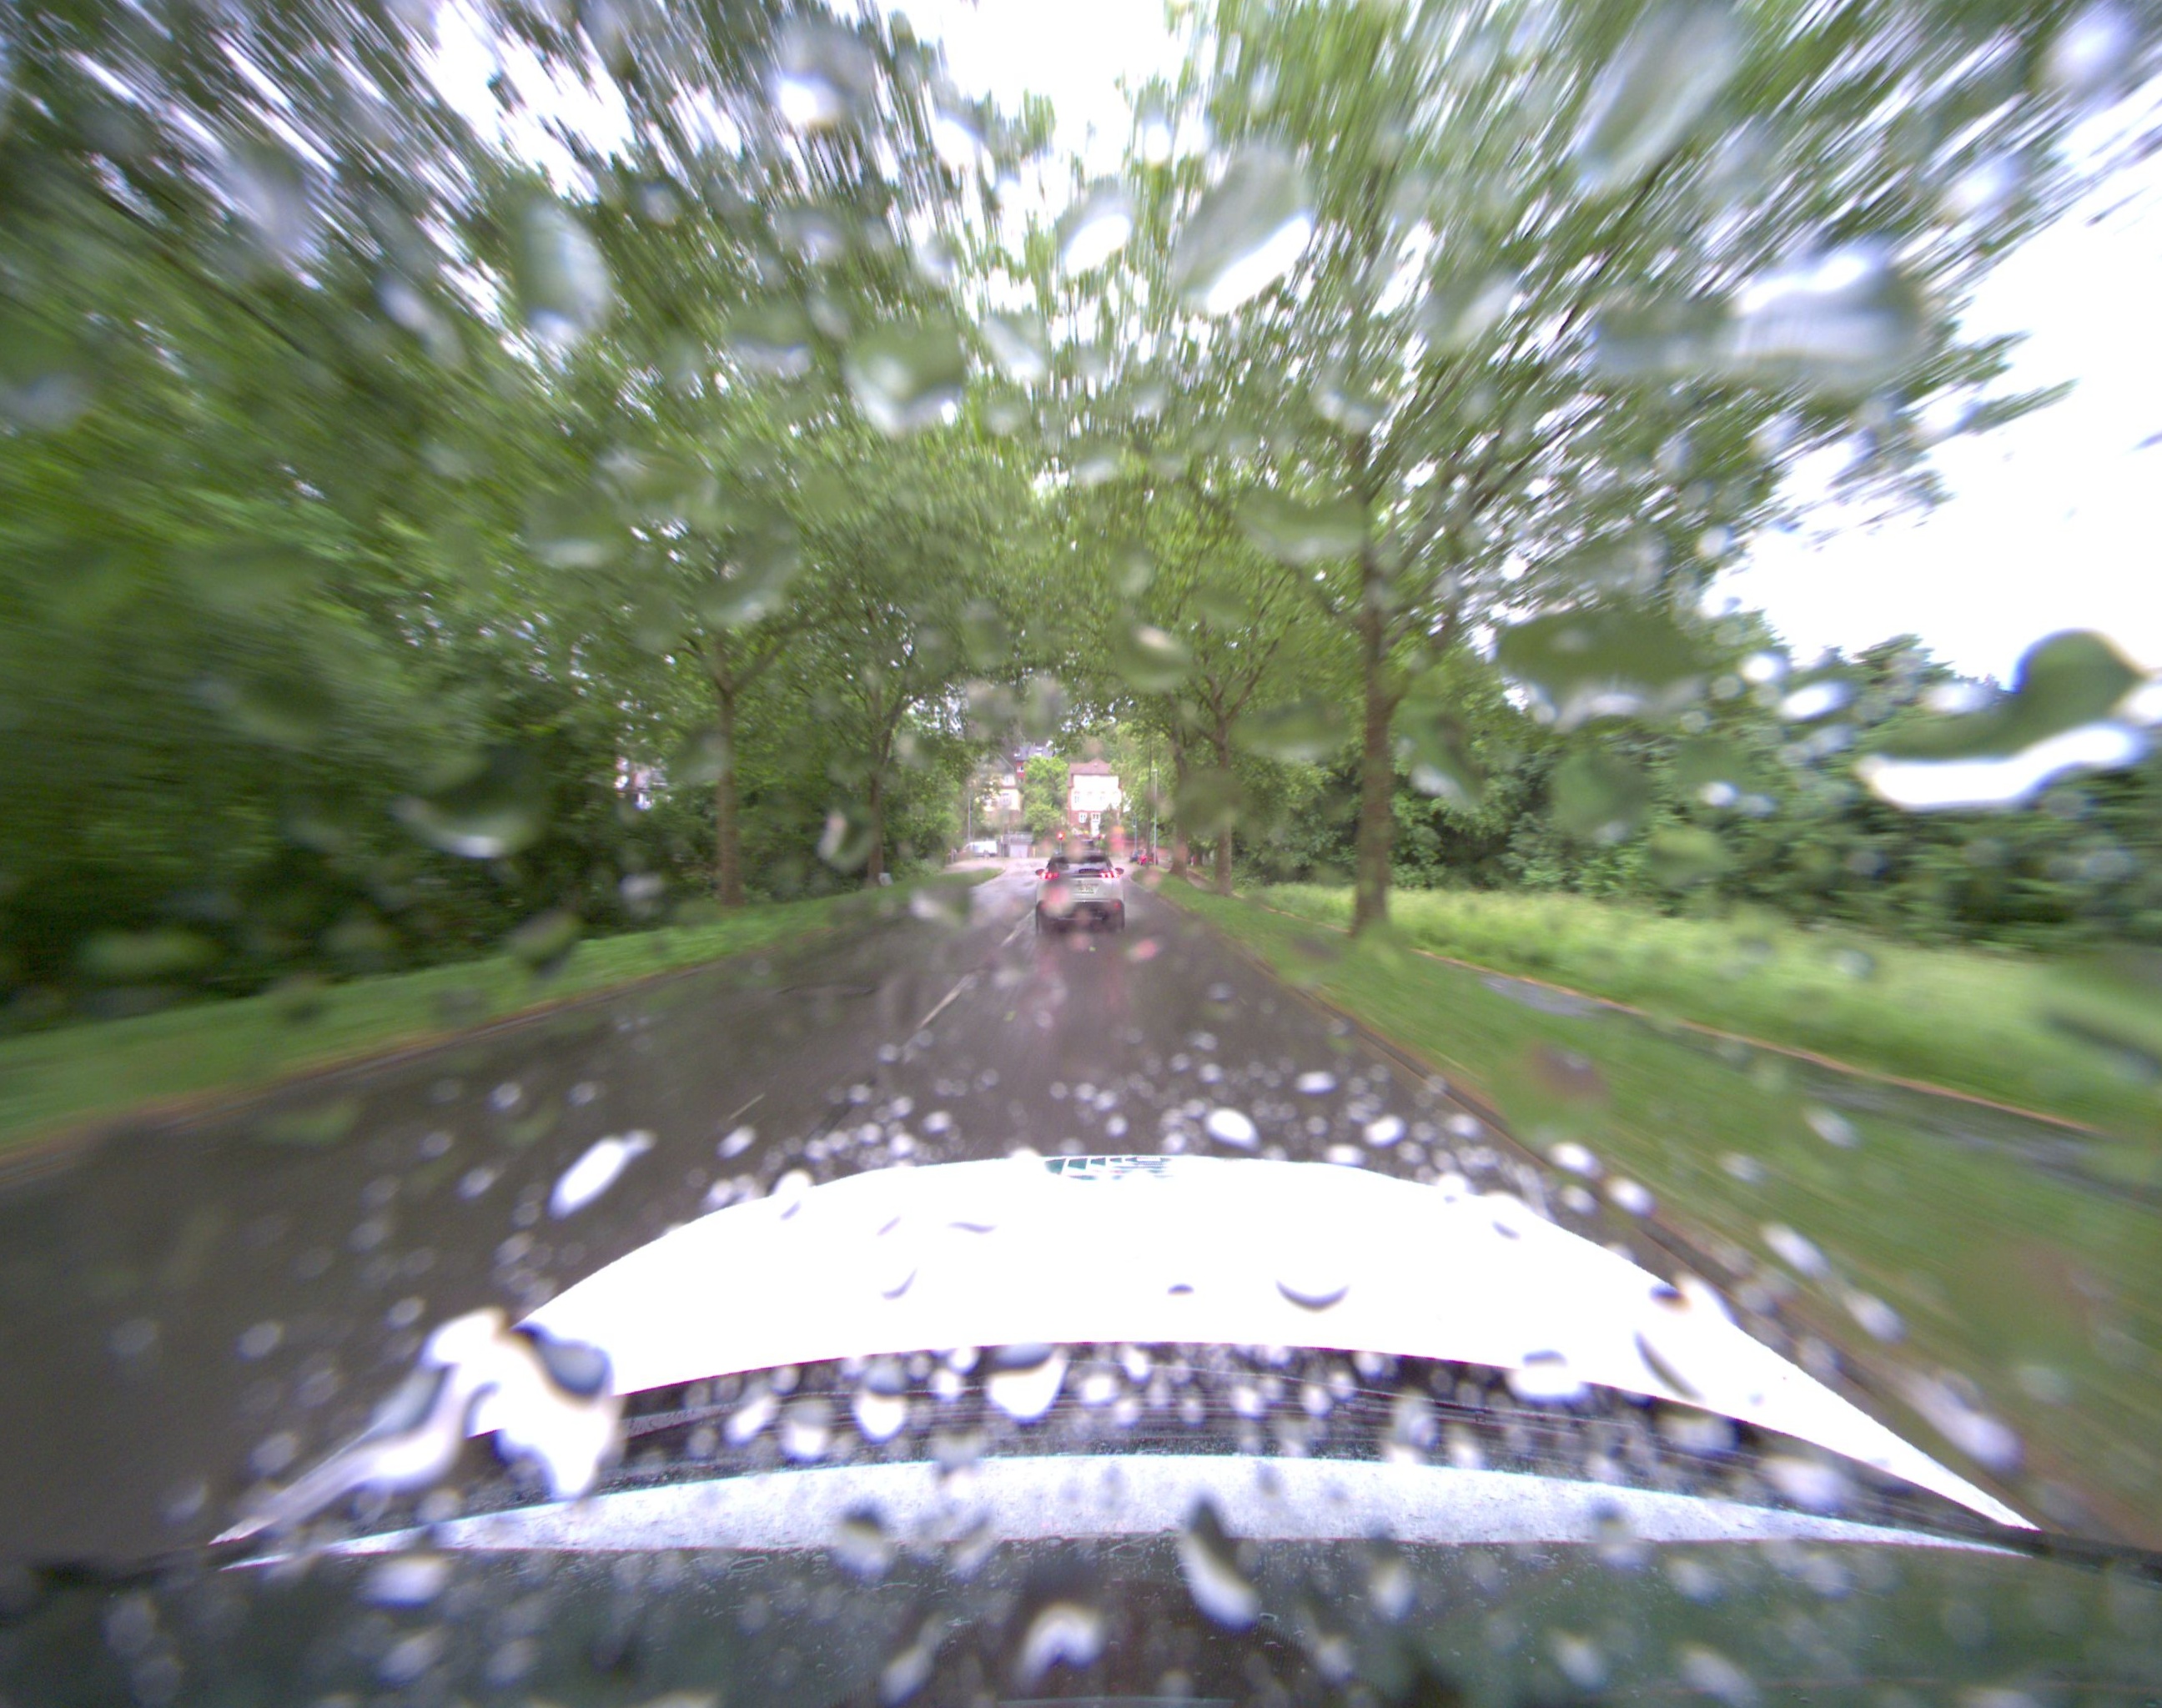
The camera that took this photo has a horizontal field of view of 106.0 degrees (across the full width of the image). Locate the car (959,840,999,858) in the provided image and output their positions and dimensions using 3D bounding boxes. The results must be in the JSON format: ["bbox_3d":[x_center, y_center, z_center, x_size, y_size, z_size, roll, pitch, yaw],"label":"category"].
[{"bbox_3d":[-15.432,-0.710,123.344,5.640,2.494,2.316,1,-1,1],"label":"car"}]

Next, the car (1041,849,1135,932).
[{"bbox_3d":[0.127,0.670,17.558,1.747,1.536,4.367,-1,0,0],"label":"car"}]

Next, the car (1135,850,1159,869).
[{"bbox_3d":[6.568,0.559,81.358,1.815,1.517,3.740,7,2,-3],"label":"car"}]

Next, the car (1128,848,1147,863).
[{"bbox_3d":[6.288,0.169,90.815,1.744,1.491,3.599,3,0,0],"label":"car"}]

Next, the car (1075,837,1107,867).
[{"bbox_3d":[0.596,-0.170,51.514,1.755,1.711,4.598,2,1,-2],"label":"car"}]

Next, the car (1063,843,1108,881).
[{"bbox_3d":[0.203,0.297,36.853,1.825,1.456,4.659,3,1,0],"label":"car"}]
